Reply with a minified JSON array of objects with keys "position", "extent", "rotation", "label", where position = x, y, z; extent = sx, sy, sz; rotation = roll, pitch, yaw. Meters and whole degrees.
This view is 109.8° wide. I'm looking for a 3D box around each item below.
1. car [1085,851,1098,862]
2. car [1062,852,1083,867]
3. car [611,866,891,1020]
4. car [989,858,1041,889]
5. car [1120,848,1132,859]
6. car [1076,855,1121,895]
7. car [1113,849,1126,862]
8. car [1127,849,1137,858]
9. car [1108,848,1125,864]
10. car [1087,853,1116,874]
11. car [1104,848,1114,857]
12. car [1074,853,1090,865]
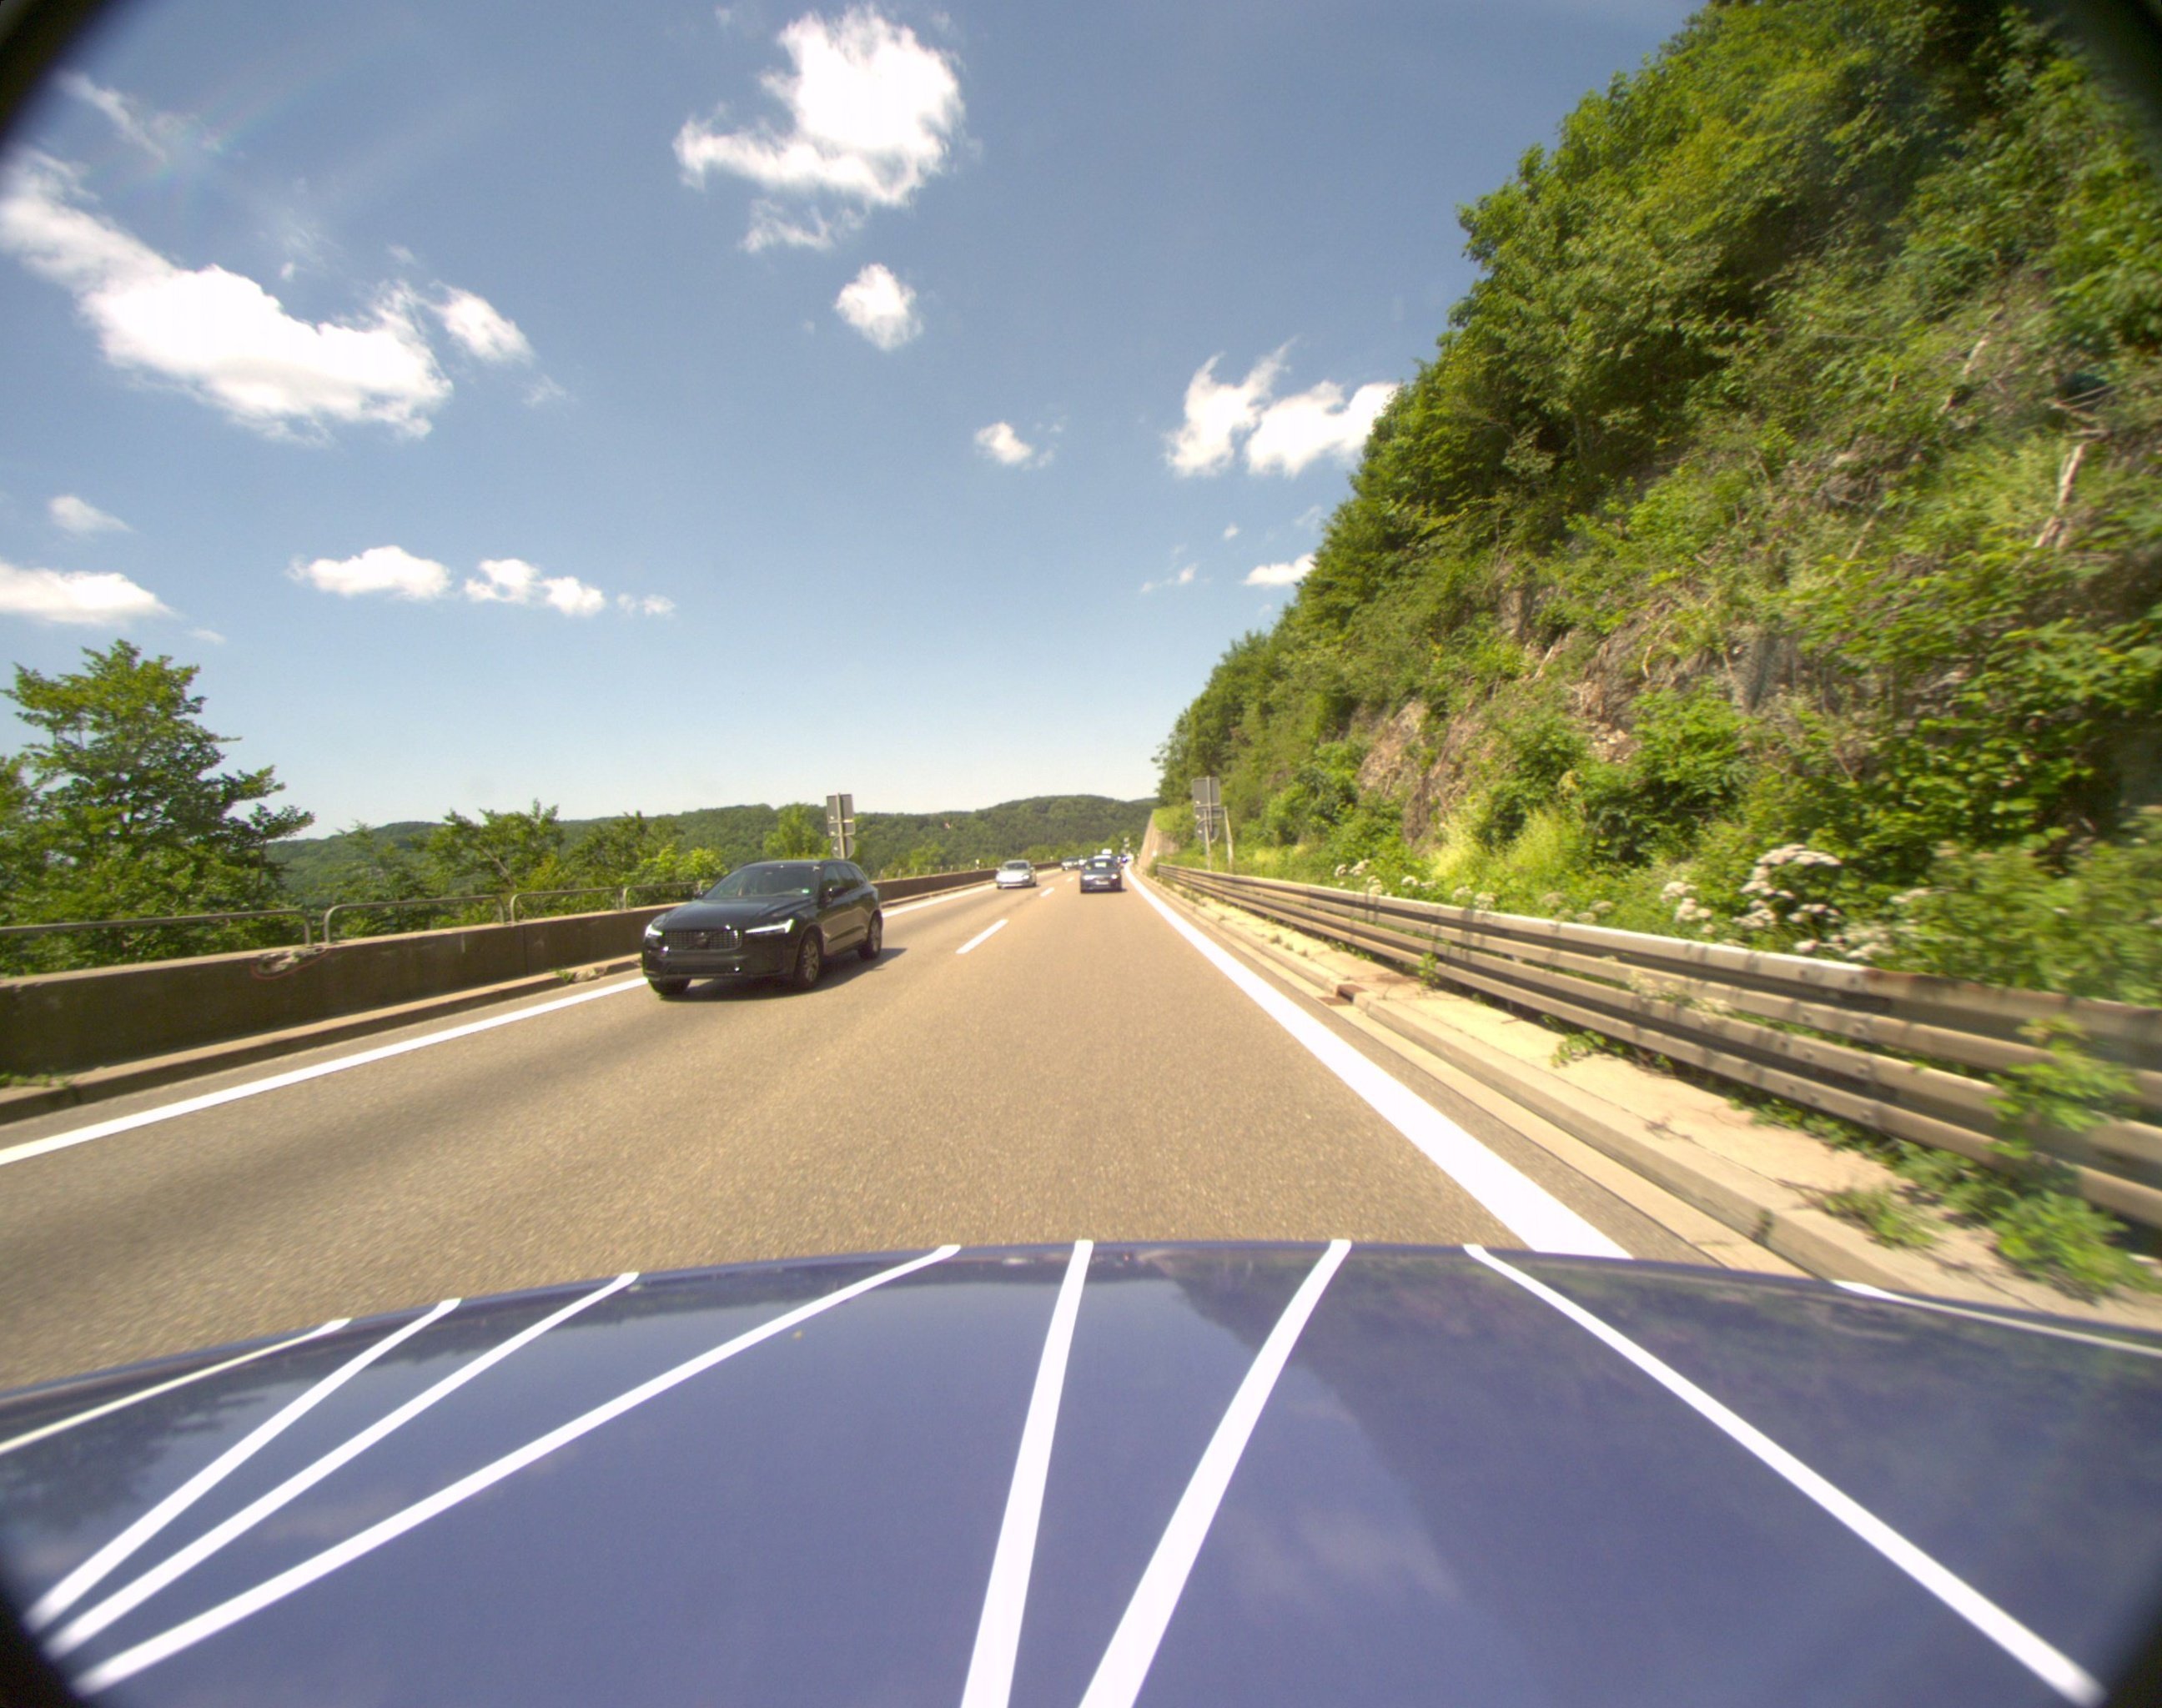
[{"position":[1.688,0.362,120.161],"extent":[1.776,1.565,4.001],"rotation":[-2,0,3],"label":"car"},{"position":[-0.923,0.622,83.832],"extent":[1.875,1.565,4.001],"rotation":[-2,0,6],"label":"car"},{"position":[-4.224,1.017,10.711],"extent":[1.839,1.623,4.662],"rotation":[-2,-1,0],"label":"car"},{"position":[-3.391,0.986,40.083],"extent":[1.972,1.370,4.294],"rotation":[-3,1,4],"label":"car"},{"position":[9.423,-0.126,157.959],"extent":[1.997,2.002,4.003],"rotation":[-2,0,10],"label":"car"},{"position":[0.798,0.832,31.726],"extent":[1.668,1.415,4.044],"rotation":[-1,1,4],"label":"car"},{"position":[6.395,0.241,125.346],"extent":[1.998,2.002,4.000],"rotation":[-1,0,2],"label":"car"},{"position":[11.927,-0.189,178.028],"extent":[1.997,2.002,4.002],"rotation":[-2,0,8],"label":"car"},{"position":[4.560,0.208,97.797],"extent":[1.998,2.002,4.001],"rotation":[-2,0,4],"label":"car"},{"position":[1.579,0.716,60.027],"extent":[1.999,1.543,3.999],"rotation":[-1,0,-2],"label":"car"},{"position":[6.261,-0.401,169.661],"extent":[1.997,2.002,4.002],"rotation":[-2,0,8],"label":"car"},{"position":[0.159,0.615,103.857],"extent":[1.775,1.565,4.001],"rotation":[-2,0,5],"label":"car"}]
